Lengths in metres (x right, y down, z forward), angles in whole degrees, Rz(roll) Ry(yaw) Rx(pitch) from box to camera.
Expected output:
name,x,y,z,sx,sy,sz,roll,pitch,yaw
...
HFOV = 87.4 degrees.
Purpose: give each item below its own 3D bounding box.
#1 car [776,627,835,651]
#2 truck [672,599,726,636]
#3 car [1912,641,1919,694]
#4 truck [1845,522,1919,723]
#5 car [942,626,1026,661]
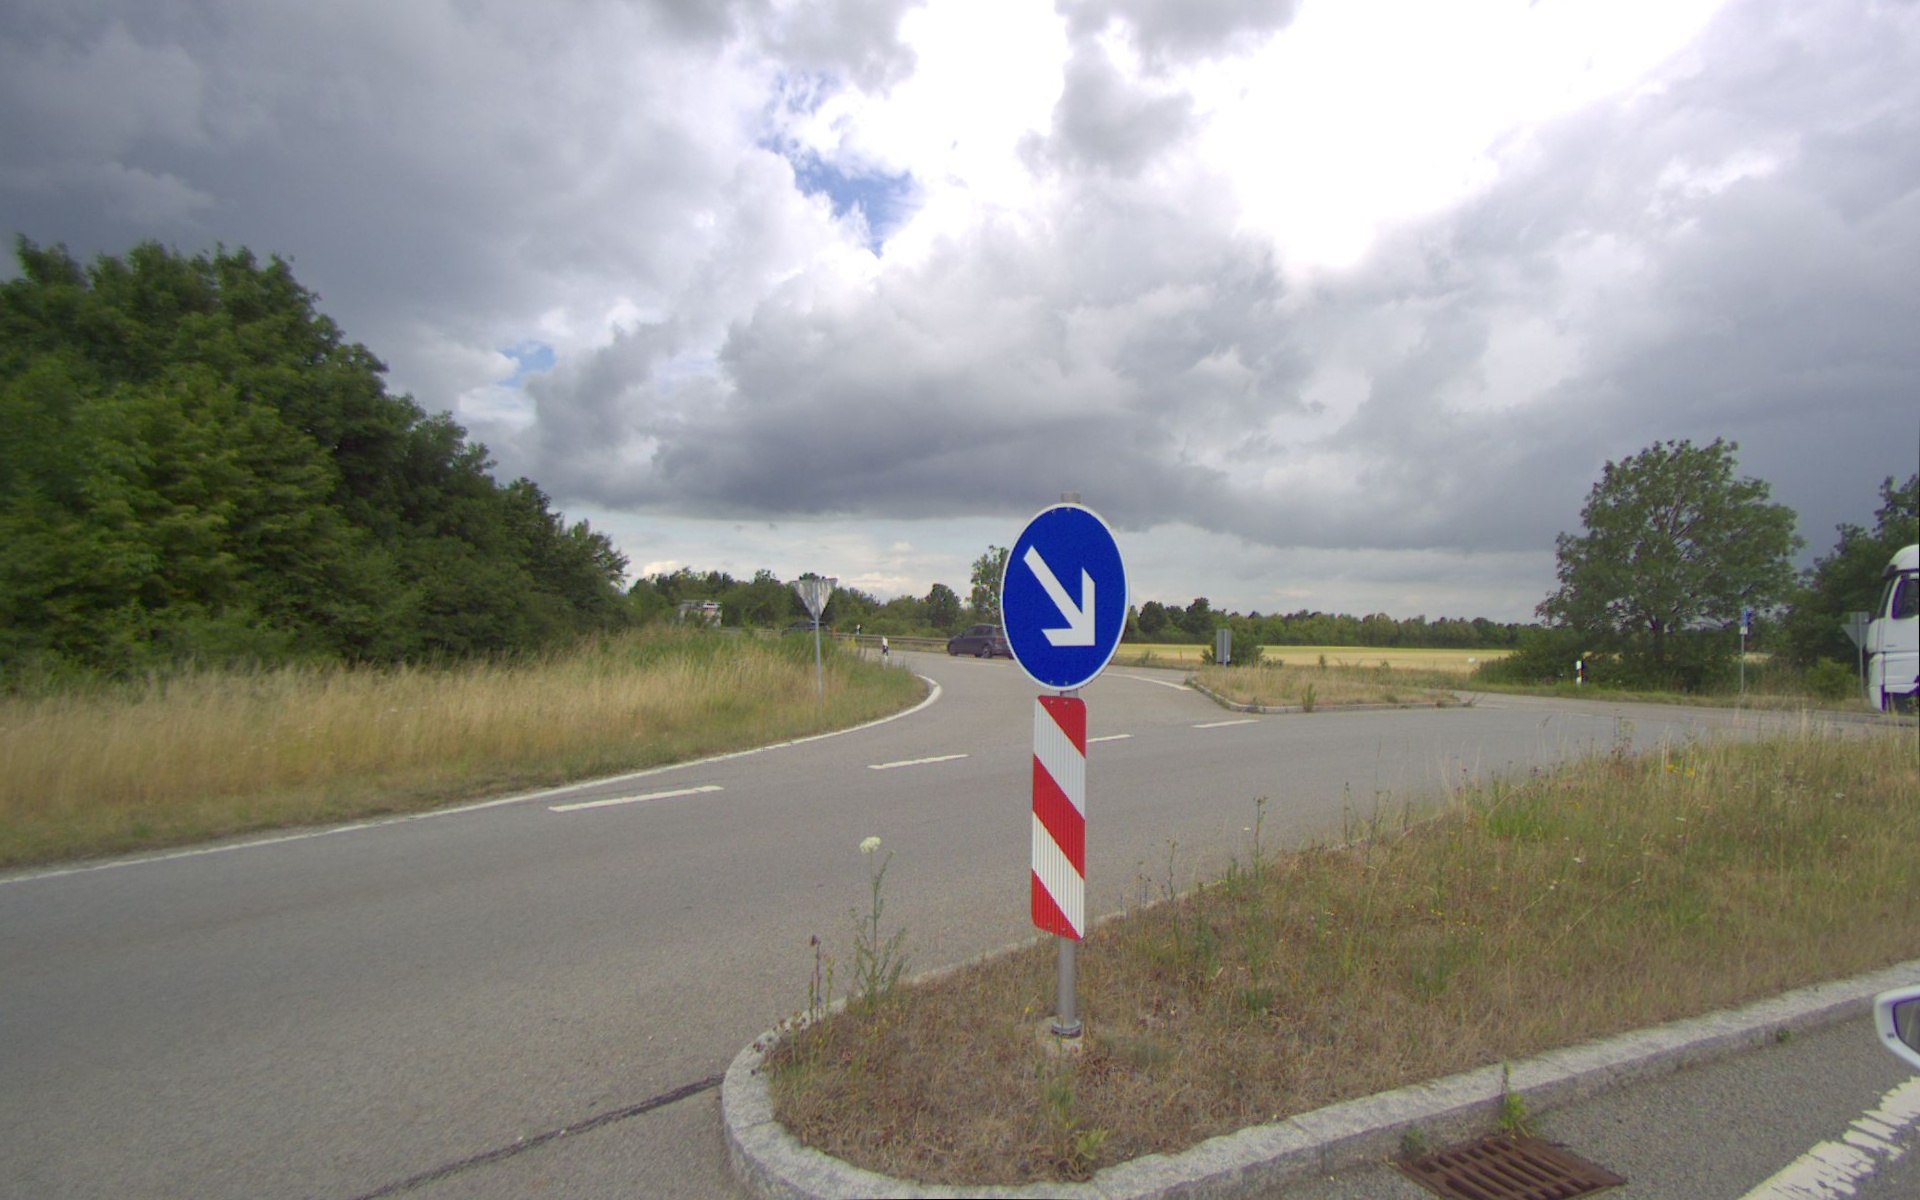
name,x,y,z,sx,sy,sz,roll,pitch,yaw
car,-9.394,2.323,60.843,1.666,1.362,4.310,1,-2,-37
truck,-19.961,1.371,76.609,2.045,2.739,5.987,1,-2,-34
car,38.361,2.559,36.856,2.295,2.040,4.917,0,-2,3
truck,22.097,0.513,19.251,3.100,4.066,7.232,4,-3,-36
car,1.088,2.065,47.932,1.980,1.622,4.184,1,-2,-34
